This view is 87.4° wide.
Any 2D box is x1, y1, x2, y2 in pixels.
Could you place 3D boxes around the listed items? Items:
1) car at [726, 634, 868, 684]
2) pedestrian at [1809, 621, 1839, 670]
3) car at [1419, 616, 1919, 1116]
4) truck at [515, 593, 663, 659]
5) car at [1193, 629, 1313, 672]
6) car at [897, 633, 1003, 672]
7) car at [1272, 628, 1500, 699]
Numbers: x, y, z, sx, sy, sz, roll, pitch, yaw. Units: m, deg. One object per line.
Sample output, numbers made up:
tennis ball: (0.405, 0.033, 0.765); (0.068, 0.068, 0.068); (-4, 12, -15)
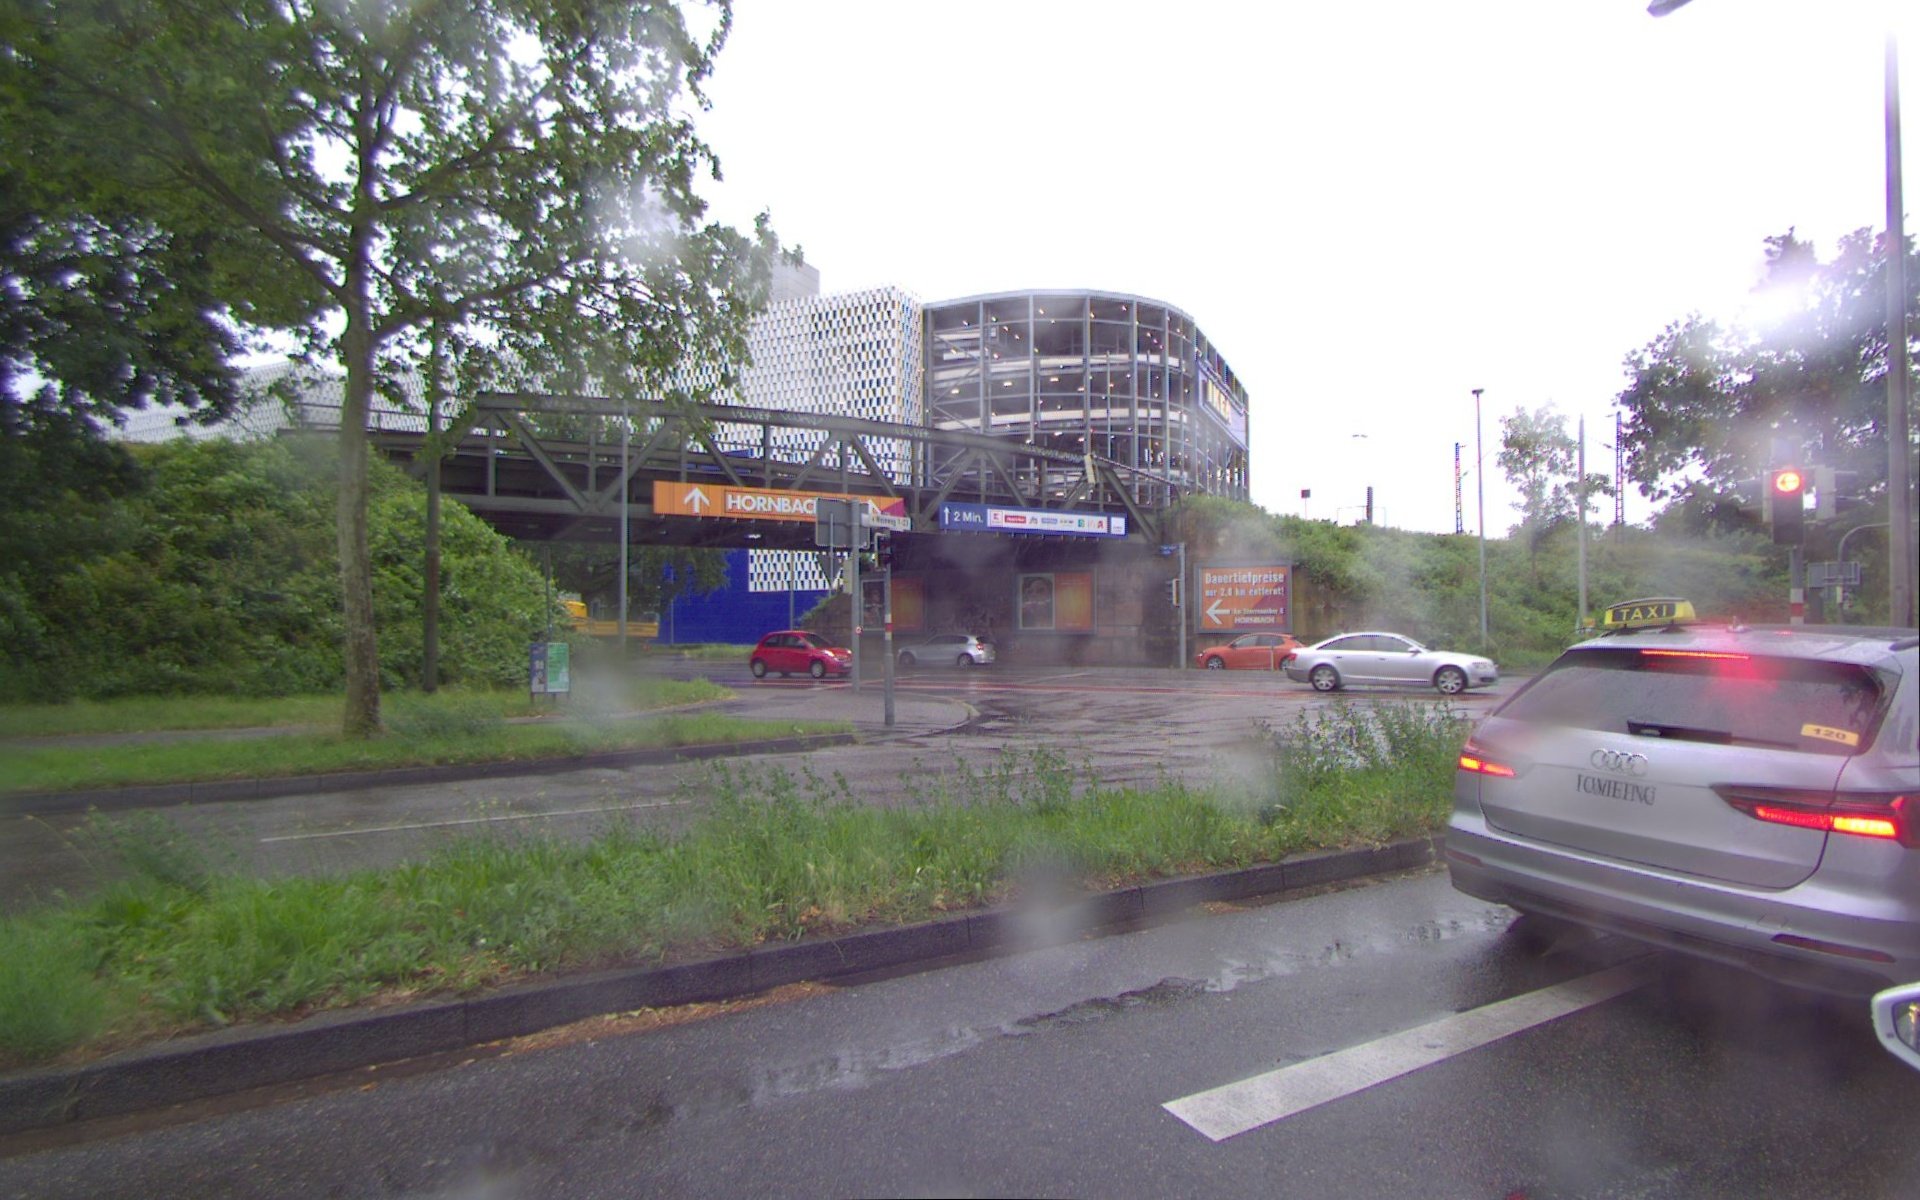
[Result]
car: (-5.537, 1.960, 34.010); (4.484, 1.545, 1.888); (0, -1, 27)
pedestrian: (32.434, 1.697, 37.705); (0.661, 1.809, 0.533); (2, 0, -12)
car: (4.361, 0.836, 4.790); (4.521, 1.452, 1.682); (1, -1, -30)
truck: (-18.274, 1.285, 49.493); (6.914, 3.094, 2.646); (-1, -2, 23)
car: (10.406, 1.754, 35.615); (3.923, 1.448, 1.717); (-1, -2, 23)
car: (-0.394, 2.088, 40.868); (3.925, 1.505, 1.817); (-1, -2, 25)
car: (10.481, 1.496, 24.830); (4.967, 1.553, 1.996); (0, -1, 32)
